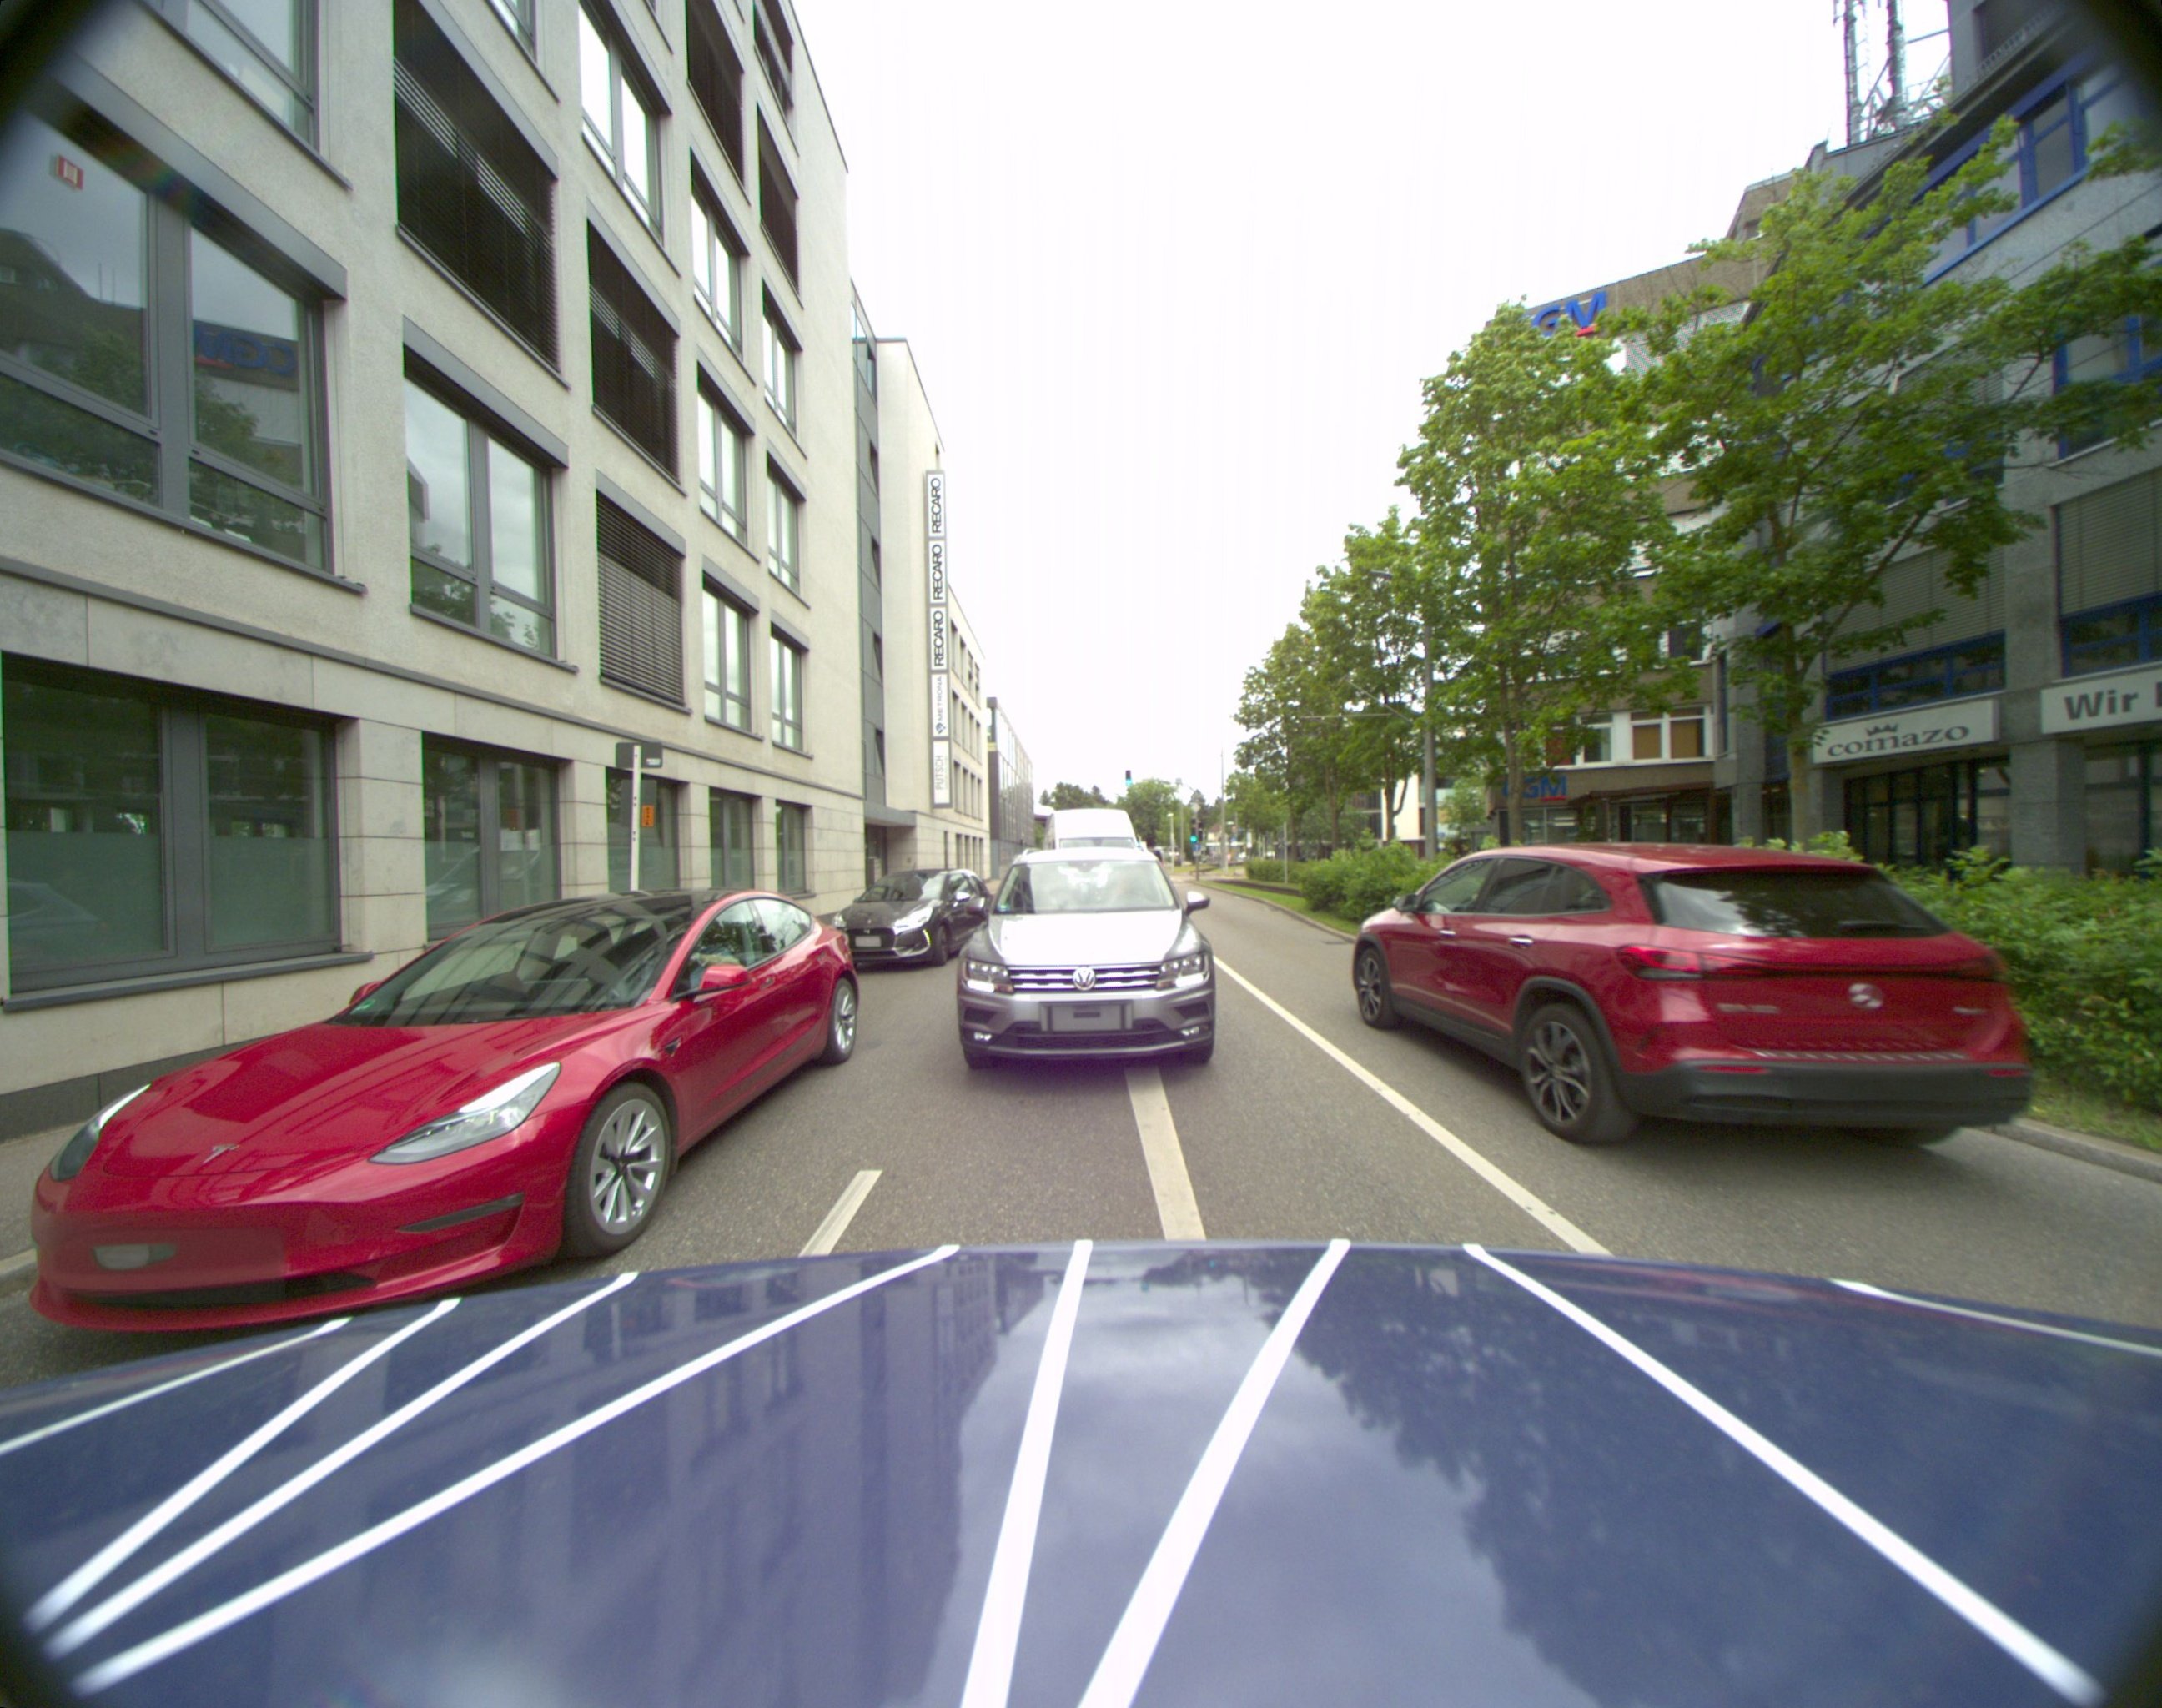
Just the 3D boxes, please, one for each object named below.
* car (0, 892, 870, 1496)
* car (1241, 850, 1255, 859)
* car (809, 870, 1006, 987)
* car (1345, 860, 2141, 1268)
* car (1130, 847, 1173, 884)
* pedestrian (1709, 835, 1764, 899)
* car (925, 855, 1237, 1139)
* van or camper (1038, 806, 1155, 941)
[{"bbox_3d":[-2.778,1.083,4.352,1.878,1.410,4.442,-3,0,-1],"label":"car"},{"bbox_3d":[38.789,0.087,176.054,1.995,1.888,4.007,-2,1,29],"label":"car"},{"bbox_3d":[-2.642,1.093,12.636,1.704,1.452,4.065,-3,0,9],"label":"car"},{"bbox_3d":[3.347,0.853,5.094,1.754,1.579,4.135,0,0,1],"label":"car"},{"bbox_3d":[3.877,0.582,42.203,1.998,1.871,3.999,-2,1,1],"label":"car"},{"bbox_3d":[15.758,0.309,18.274,0.699,1.474,0.678,-3,0,-11],"label":"pedestrian"},{"bbox_3d":[0.028,0.886,6.827,1.833,1.636,4.326,-3,0,1],"label":"car"},{"bbox_3d":[0.155,0.407,18.743,2.111,2.674,6.296,-3,0,-5],"label":"van or camper"}]
